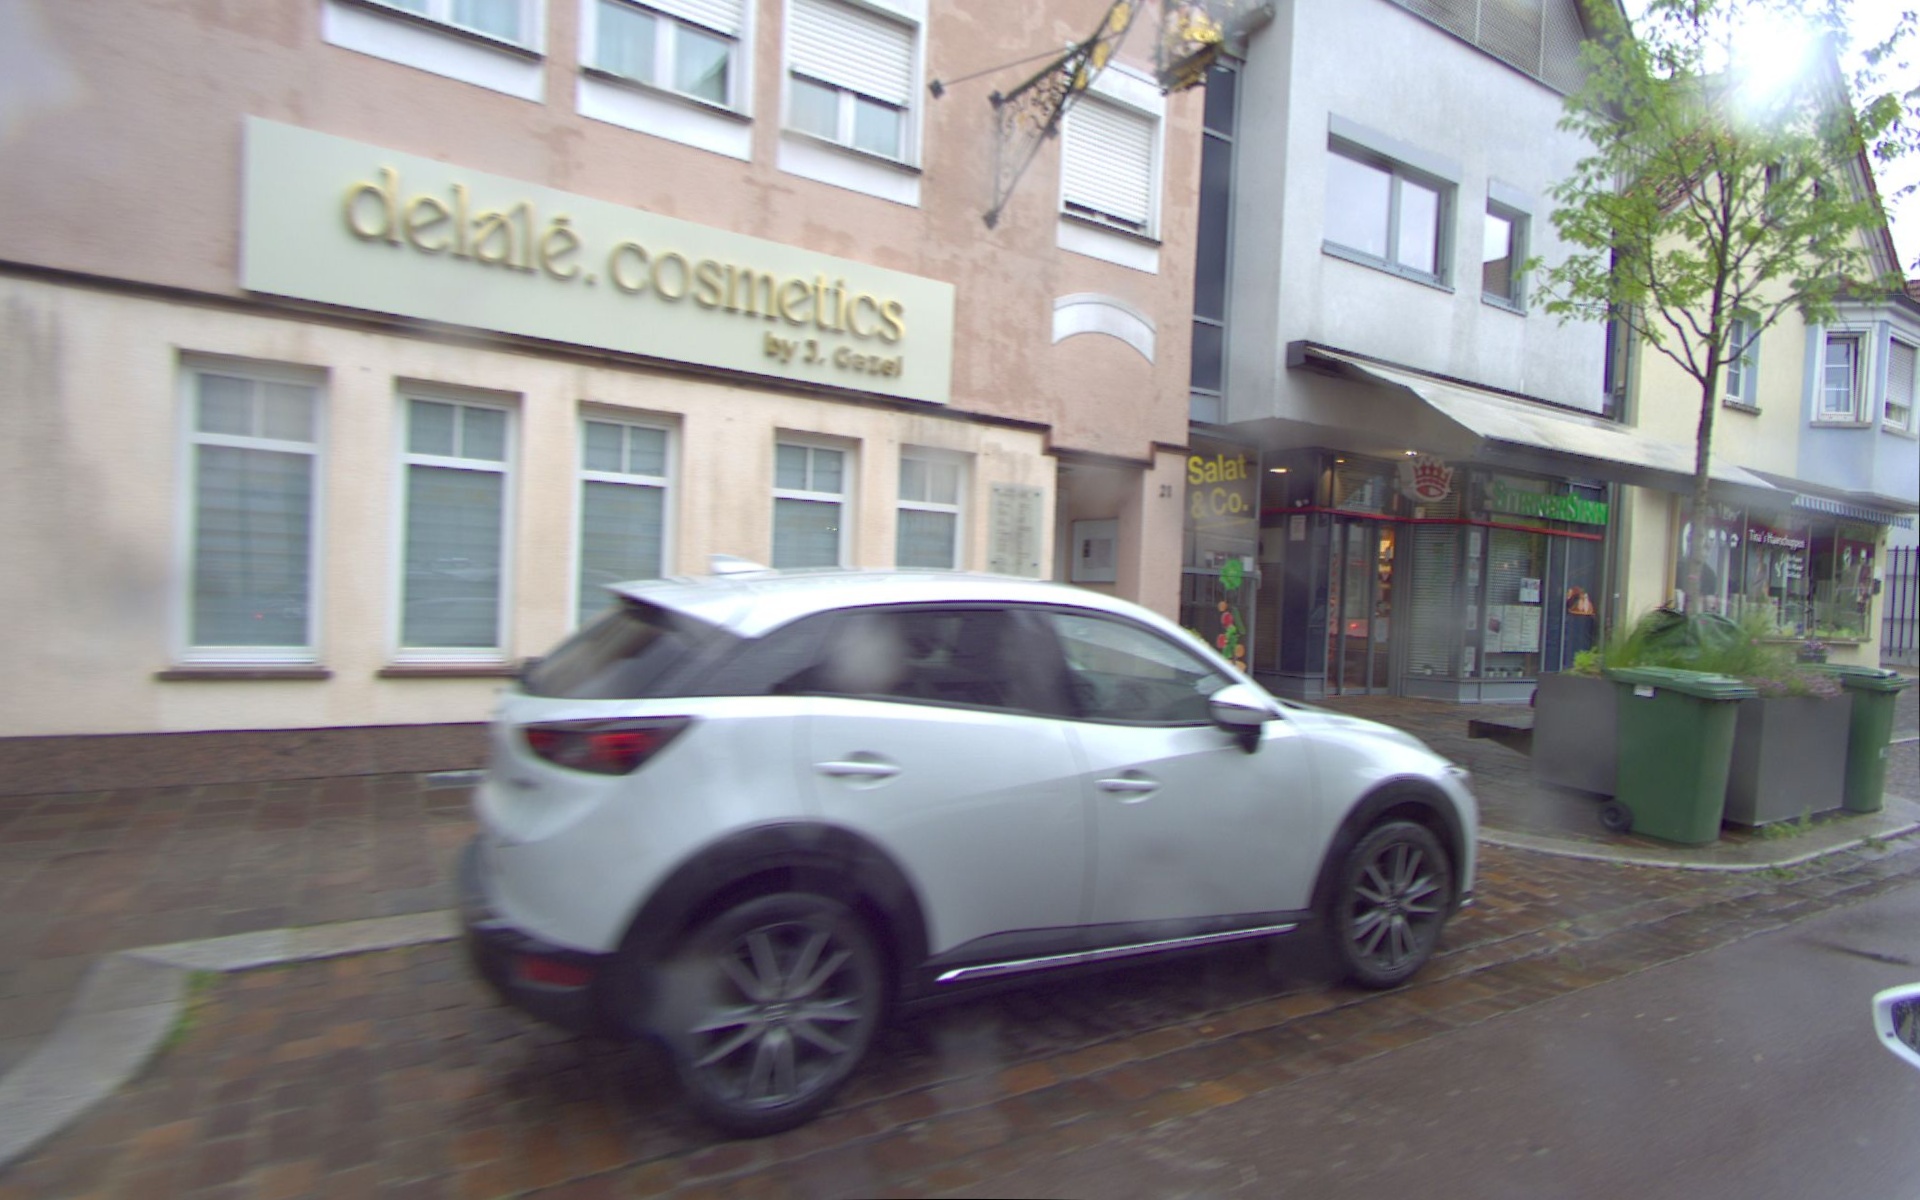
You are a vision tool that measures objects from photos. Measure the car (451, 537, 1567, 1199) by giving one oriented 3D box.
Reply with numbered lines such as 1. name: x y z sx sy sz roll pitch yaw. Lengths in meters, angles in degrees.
1. car: 0.299 0.616 3.942 4.069 1.559 1.684 1 3 -29

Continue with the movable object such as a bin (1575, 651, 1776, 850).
1. movable object such as a bin: 4.610 0.927 6.499 0.684 1.099 0.783 0 3 -27

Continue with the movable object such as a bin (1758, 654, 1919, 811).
1. movable object such as a bin: 6.754 0.987 7.714 0.696 1.066 0.706 3 2 -29
